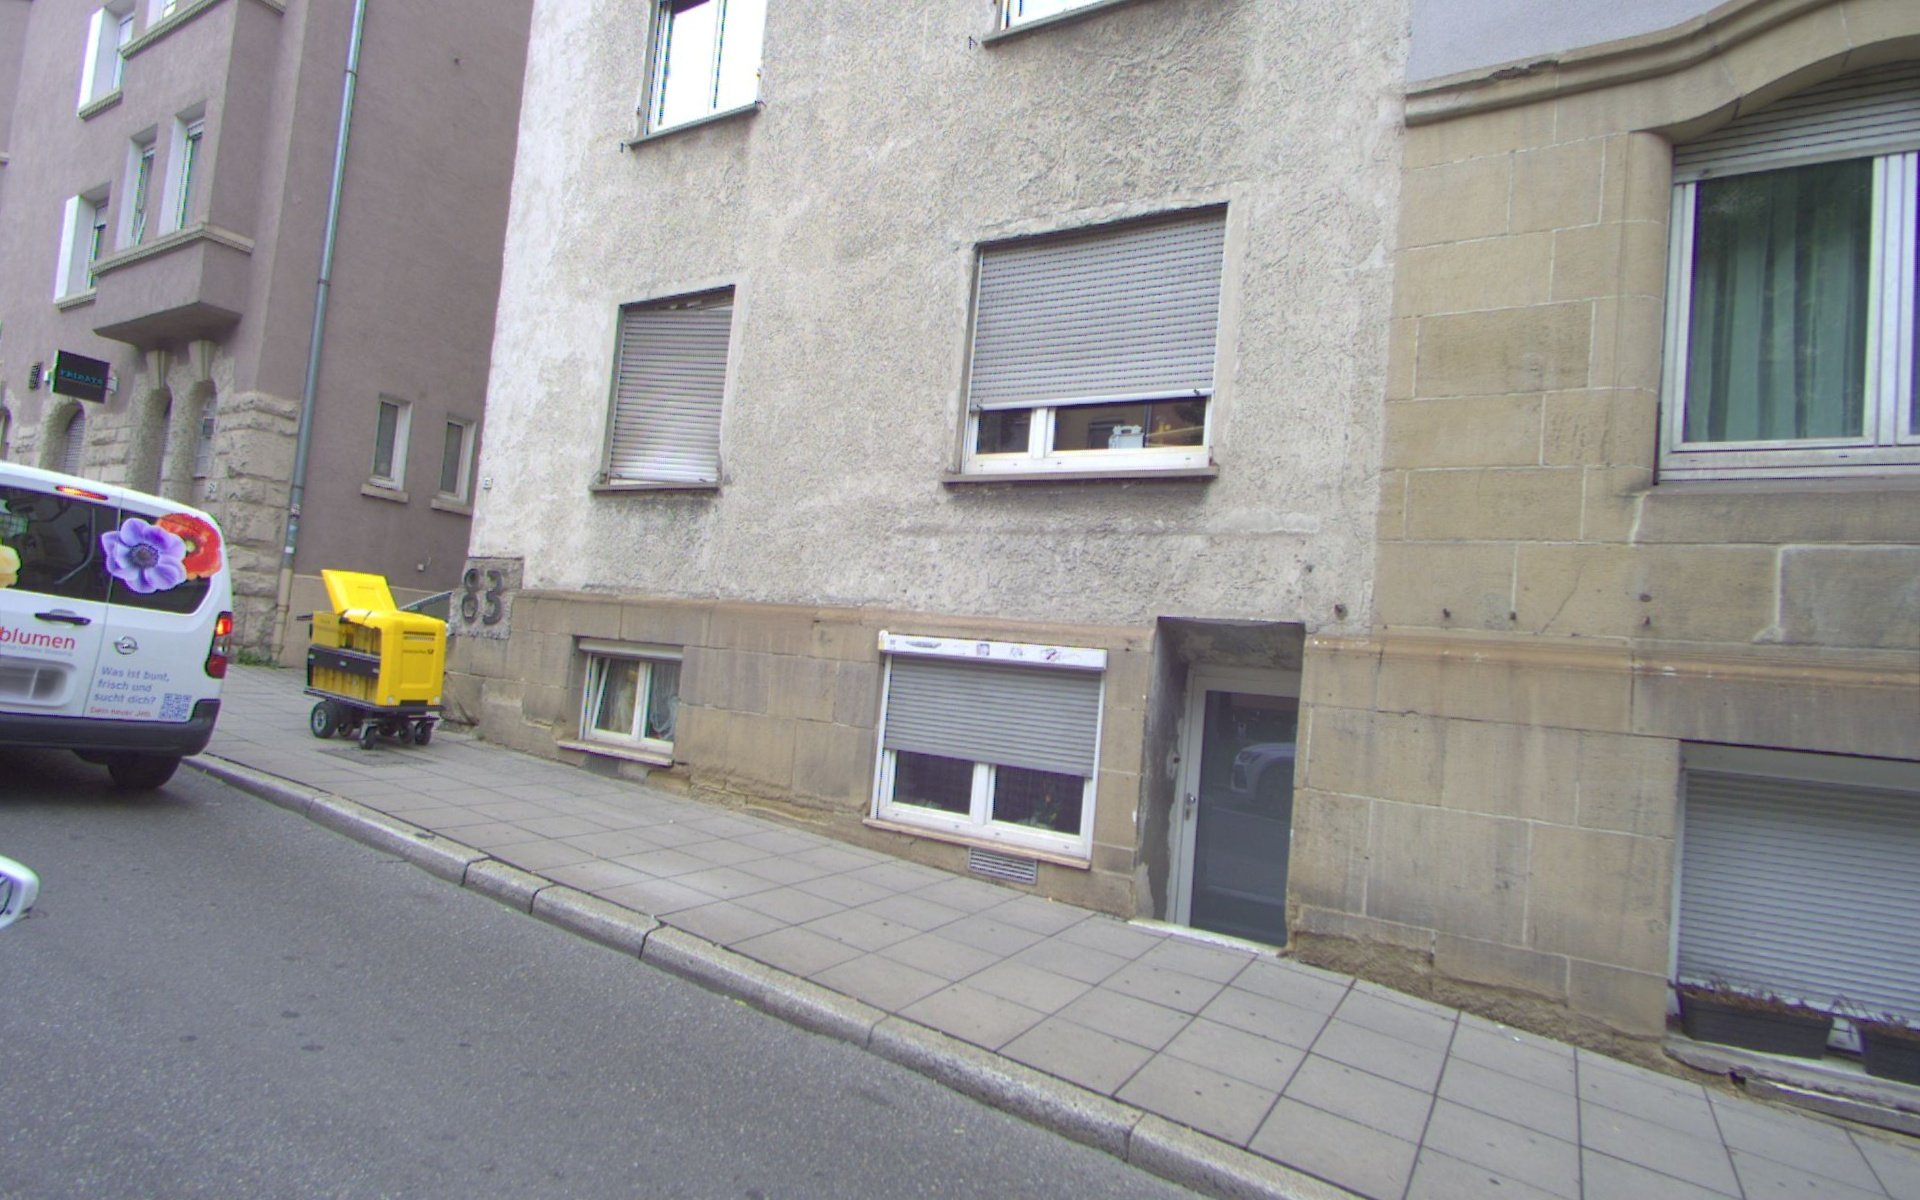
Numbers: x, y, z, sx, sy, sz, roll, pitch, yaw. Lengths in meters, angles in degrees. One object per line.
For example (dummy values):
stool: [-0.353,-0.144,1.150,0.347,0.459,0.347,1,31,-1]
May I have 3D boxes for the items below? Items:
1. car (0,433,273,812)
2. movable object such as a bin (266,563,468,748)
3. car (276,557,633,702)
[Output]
car: [-6.621,-0.012,6.504,4.944,1.844,1.852,4,-4,36]
movable object such as a bin: [-5.365,0.476,9.086,1.665,1.437,0.720,6,-1,30]
car: [-6.855,0.504,14.080,1.770,1.419,3.996,9,-2,32]
